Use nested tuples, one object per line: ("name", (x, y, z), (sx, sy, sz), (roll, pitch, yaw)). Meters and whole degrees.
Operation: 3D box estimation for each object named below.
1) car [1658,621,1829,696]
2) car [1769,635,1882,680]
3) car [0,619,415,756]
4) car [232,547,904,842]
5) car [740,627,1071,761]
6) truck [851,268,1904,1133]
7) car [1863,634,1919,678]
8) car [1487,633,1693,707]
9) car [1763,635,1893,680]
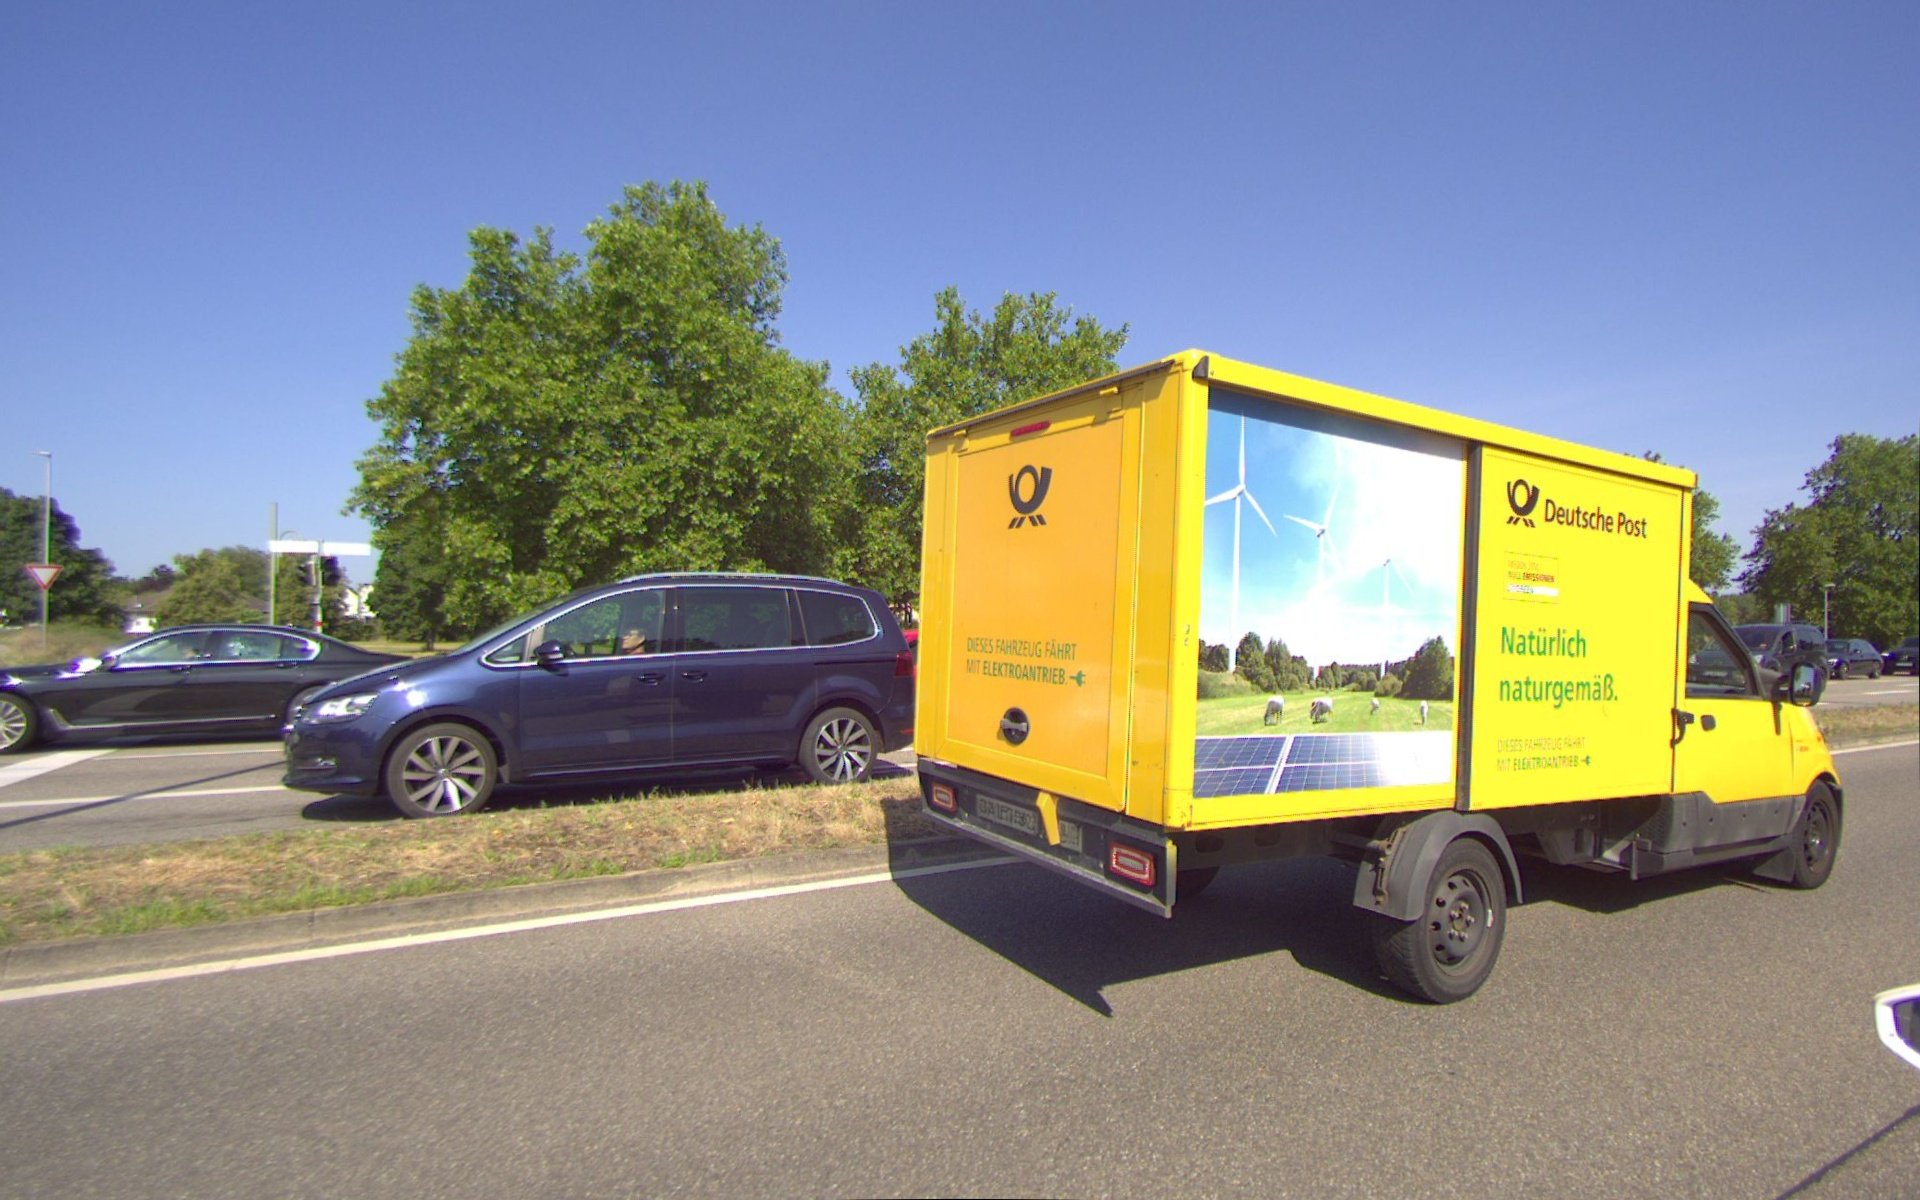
("car", (20.364, 1.469, 26.087), (4.435, 1.803, 1.973), (1, -2, -29))
("car", (31.965, 2.098, 37.078), (4.355, 1.565, 1.854), (2, -3, -31))
("car", (-10.018, 1.049, 12.511), (5.556, 1.493, 1.983), (2, -4, -33))
("car", (-2.864, 0.653, 7.995), (4.451, 1.773, 1.974), (1, -3, -28))
("car", (-0.678, 1.128, 13.133), (3.952, 1.504, 1.807), (1, -2, -30))
("truck", (2.538, 0.359, 5.322), (5.849, 2.490, 2.101), (2, -1, -31))
("car", (39.148, 2.245, 41.104), (4.500, 1.682, 1.973), (1, -1, -30))
("car", (13.926, 1.480, 22.174), (4.394, 1.476, 1.973), (1, -2, -28))
("car", (32.078, 2.093, 37.106), (4.624, 1.549, 2.064), (1, -2, -27))
